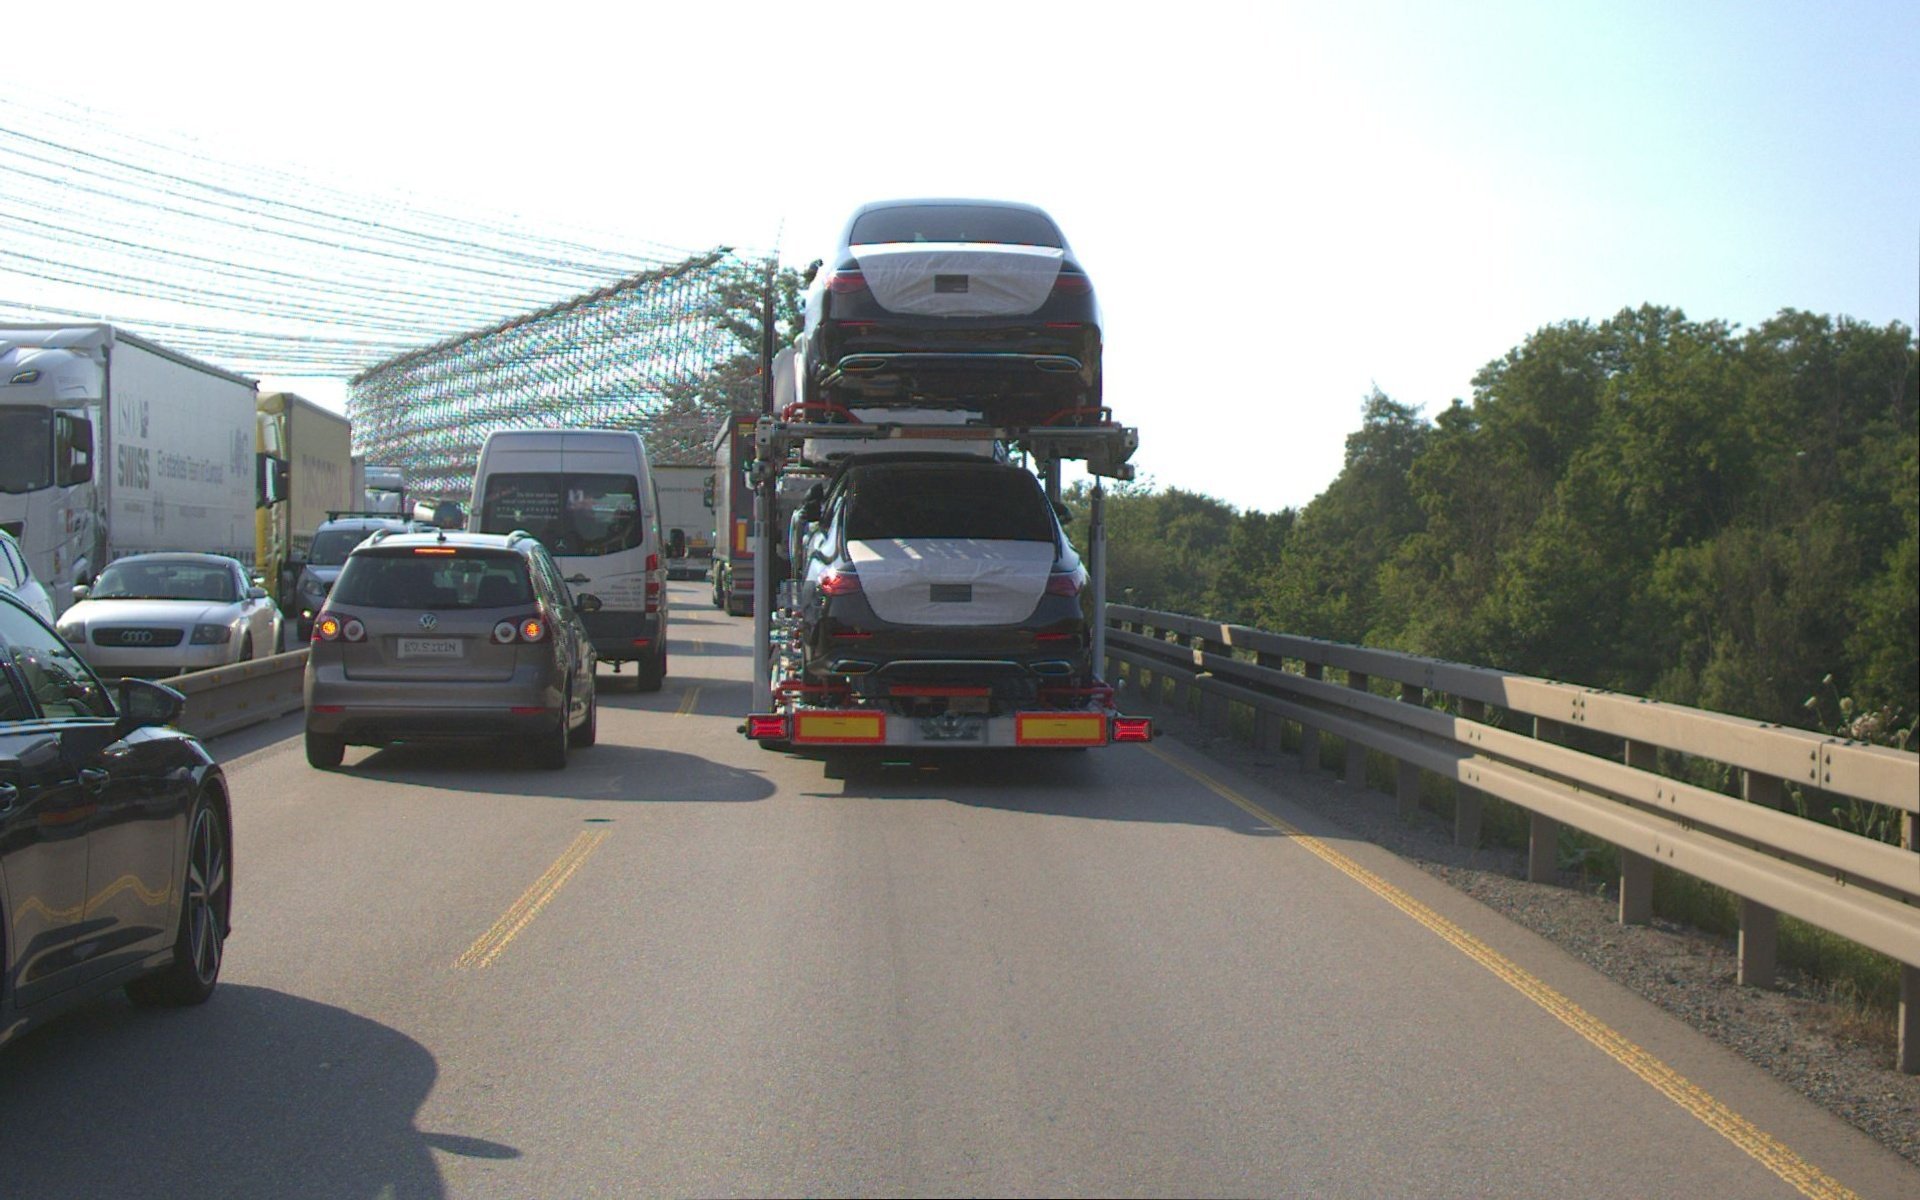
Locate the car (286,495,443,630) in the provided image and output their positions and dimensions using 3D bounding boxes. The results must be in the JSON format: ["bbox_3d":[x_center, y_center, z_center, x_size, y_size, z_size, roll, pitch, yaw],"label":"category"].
[{"bbox_3d":[-8.839,-0.589,51.356,1.832,1.910,4.865,0,1,-4],"label":"car"}]

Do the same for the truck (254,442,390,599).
[{"bbox_3d":[-15.033,-1.787,81.444,2.358,3.519,7.698,0,0,-4],"label":"truck"}]

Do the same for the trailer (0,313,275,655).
[{"bbox_3d":[-11.836,-1.424,48.842,2.453,4.251,12.147,0,0,-3],"label":"trailer"}]

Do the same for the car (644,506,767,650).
[{"bbox_3d":[-3.685,-0.299,49.359,1.668,1.978,3.819,0,0,-6],"label":"car"}]

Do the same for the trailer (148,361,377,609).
[{"bbox_3d":[-13.582,-2.016,68.139,2.893,4.379,14.382,0,0,-5],"label":"trailer"}]

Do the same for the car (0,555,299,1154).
[{"bbox_3d":[-3.339,0.632,9.659,1.940,1.475,5.222,-1,0,0],"label":"car"}]

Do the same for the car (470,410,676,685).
[{"bbox_3d":[-3.946,-0.506,35.633,1.979,2.675,4.147,0,0,-4],"label":"car"}]

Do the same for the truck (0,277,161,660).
[{"bbox_3d":[-11.410,-1.457,41.395,2.443,4.257,6.322,0,0,-3],"label":"truck"}]

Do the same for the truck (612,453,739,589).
[{"bbox_3d":[-10.426,-2.867,124.772,3.647,4.661,11.698,0,1,-9],"label":"truck"}]

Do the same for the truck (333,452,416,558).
[{"bbox_3d":[-22.912,-3.713,134.915,2.640,3.981,9.031,0,1,-6],"label":"truck"}]

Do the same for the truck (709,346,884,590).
[{"bbox_3d":[-3.564,-2.665,71.908,3.227,4.661,11.697,0,1,-5],"label":"truck"}]

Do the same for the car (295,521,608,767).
[{"bbox_3d":[-3.481,0.289,24.184,1.700,1.581,4.147,0,0,-2],"label":"car"}]

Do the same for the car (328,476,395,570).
[{"bbox_3d":[-18.179,-2.346,104.595,1.668,2.756,4.961,0,1,-6],"label":"car"}]

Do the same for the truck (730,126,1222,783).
[{"bbox_3d":[-0.086,-0.874,23.739,2.869,3.966,5.772,0,0,-5],"label":"truck"}]

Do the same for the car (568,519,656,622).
[{"bbox_3d":[-6.902,-0.558,68.097,1.668,1.978,3.819,0,0,-6],"label":"car"}]

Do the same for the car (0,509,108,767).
[{"bbox_3d":[-7.065,0.249,22.660,1.846,1.642,4.560,-1,0,-1],"label":"car"}]

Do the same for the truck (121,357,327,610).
[{"bbox_3d":[-12.931,-1.953,60.822,2.893,4.257,5.772,0,0,-5],"label":"truck"}]

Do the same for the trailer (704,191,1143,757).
[{"bbox_3d":[-0.818,-0.870,31.911,2.874,3.980,15.281,0,0,-5],"label":"trailer"}]

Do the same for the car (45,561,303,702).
[{"bbox_3d":[-7.485,0.280,33.068,1.711,1.248,4.052,-1,0,-3],"label":"car"}]
